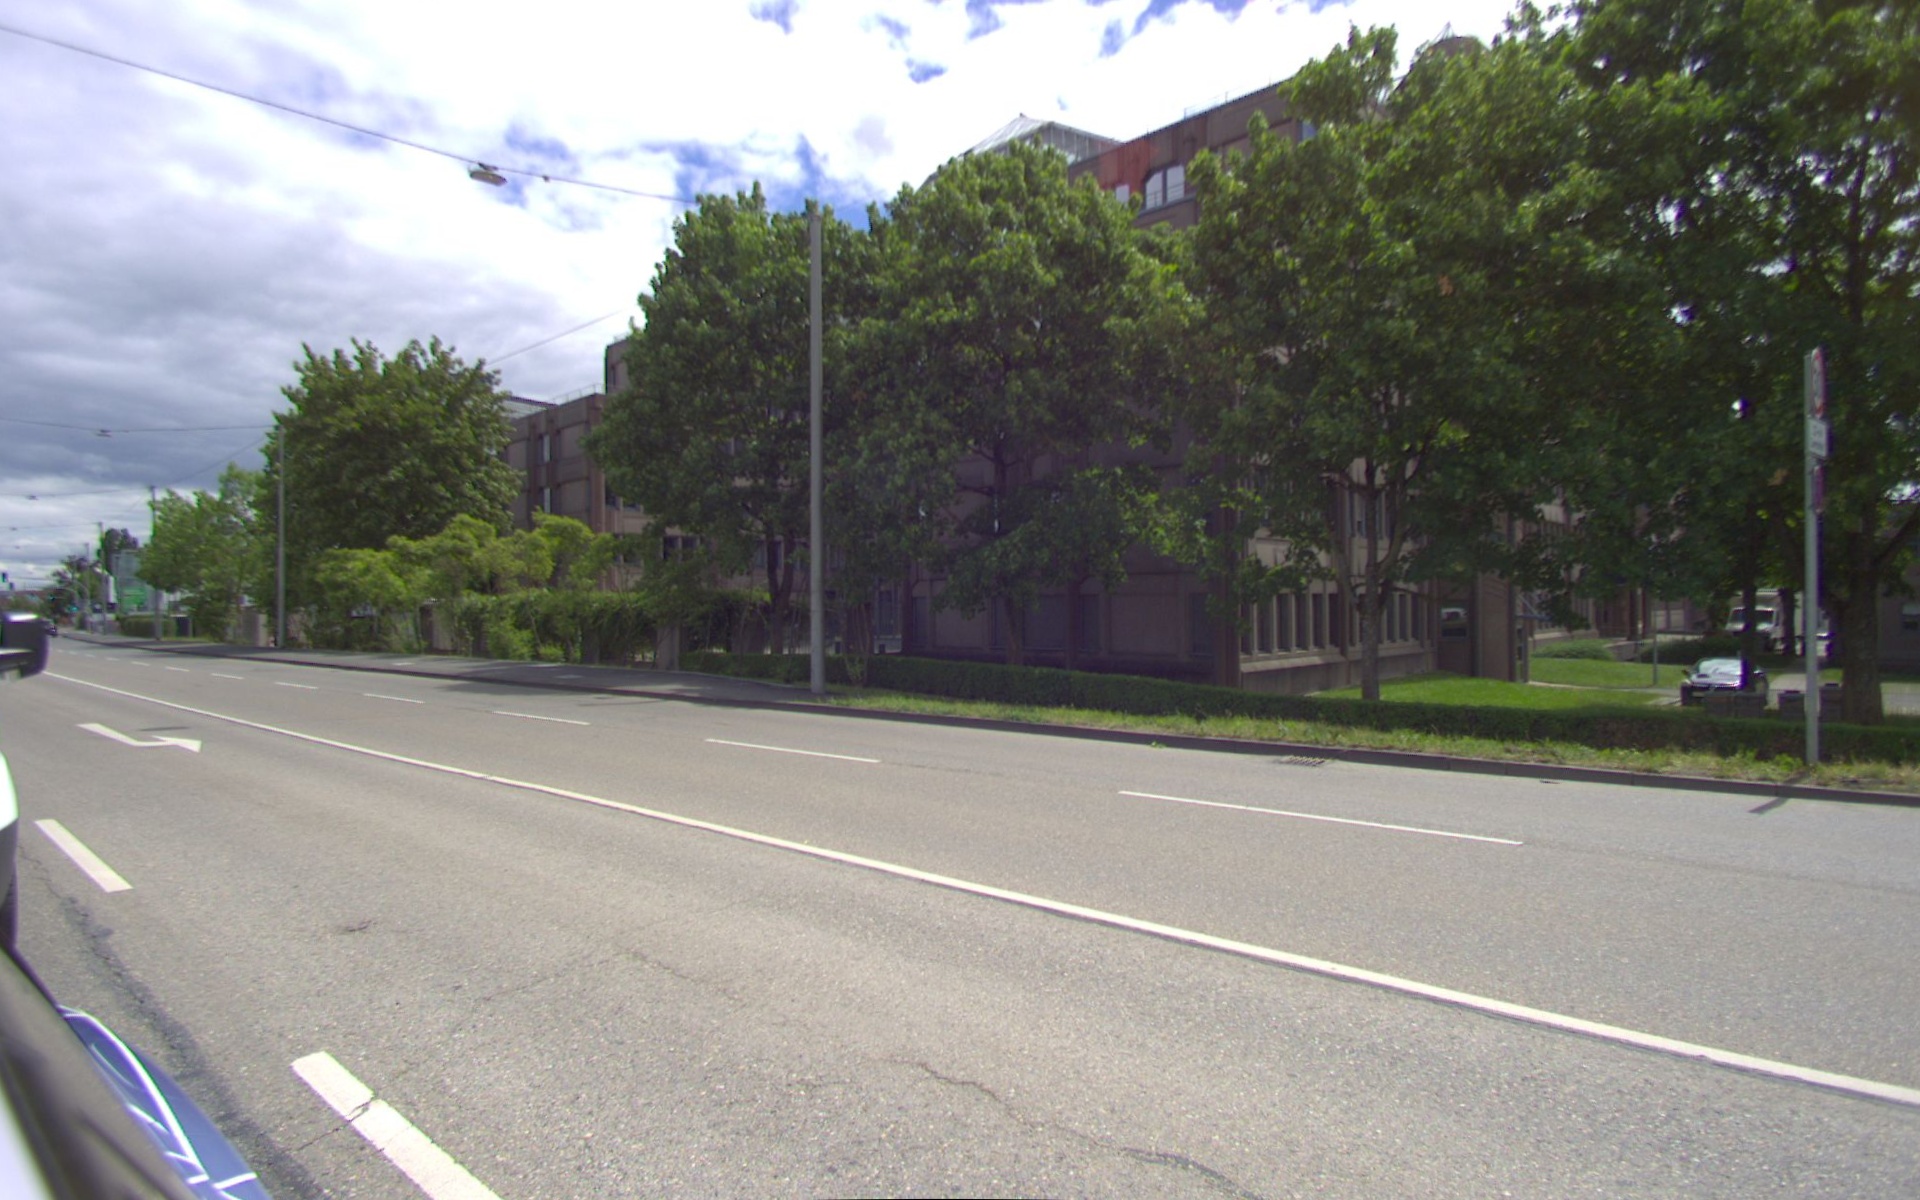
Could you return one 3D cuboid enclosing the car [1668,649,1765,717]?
[{"bbox_3d":[22.160,2.353,29.585,1.787,1.741,3.942,-1,-2,44],"label":"car"}]

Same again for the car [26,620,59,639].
[{"bbox_3d":[-82.703,2.658,91.237,4.572,1.627,1.847,0,-1,43],"label":"car"}]

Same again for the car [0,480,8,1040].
[{"bbox_3d":[-6.083,0.644,4.877,5.884,1.932,1.971,-3,-2,45],"label":"car"}]

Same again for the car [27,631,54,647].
[{"bbox_3d":[-100.950,4.251,111.091,4.312,1.597,1.777,0,0,42],"label":"car"}]

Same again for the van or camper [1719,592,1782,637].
[{"bbox_3d":[39.383,0.700,50.393,2.356,2.120,5.137,0,0,39],"label":"van or camper"}]
